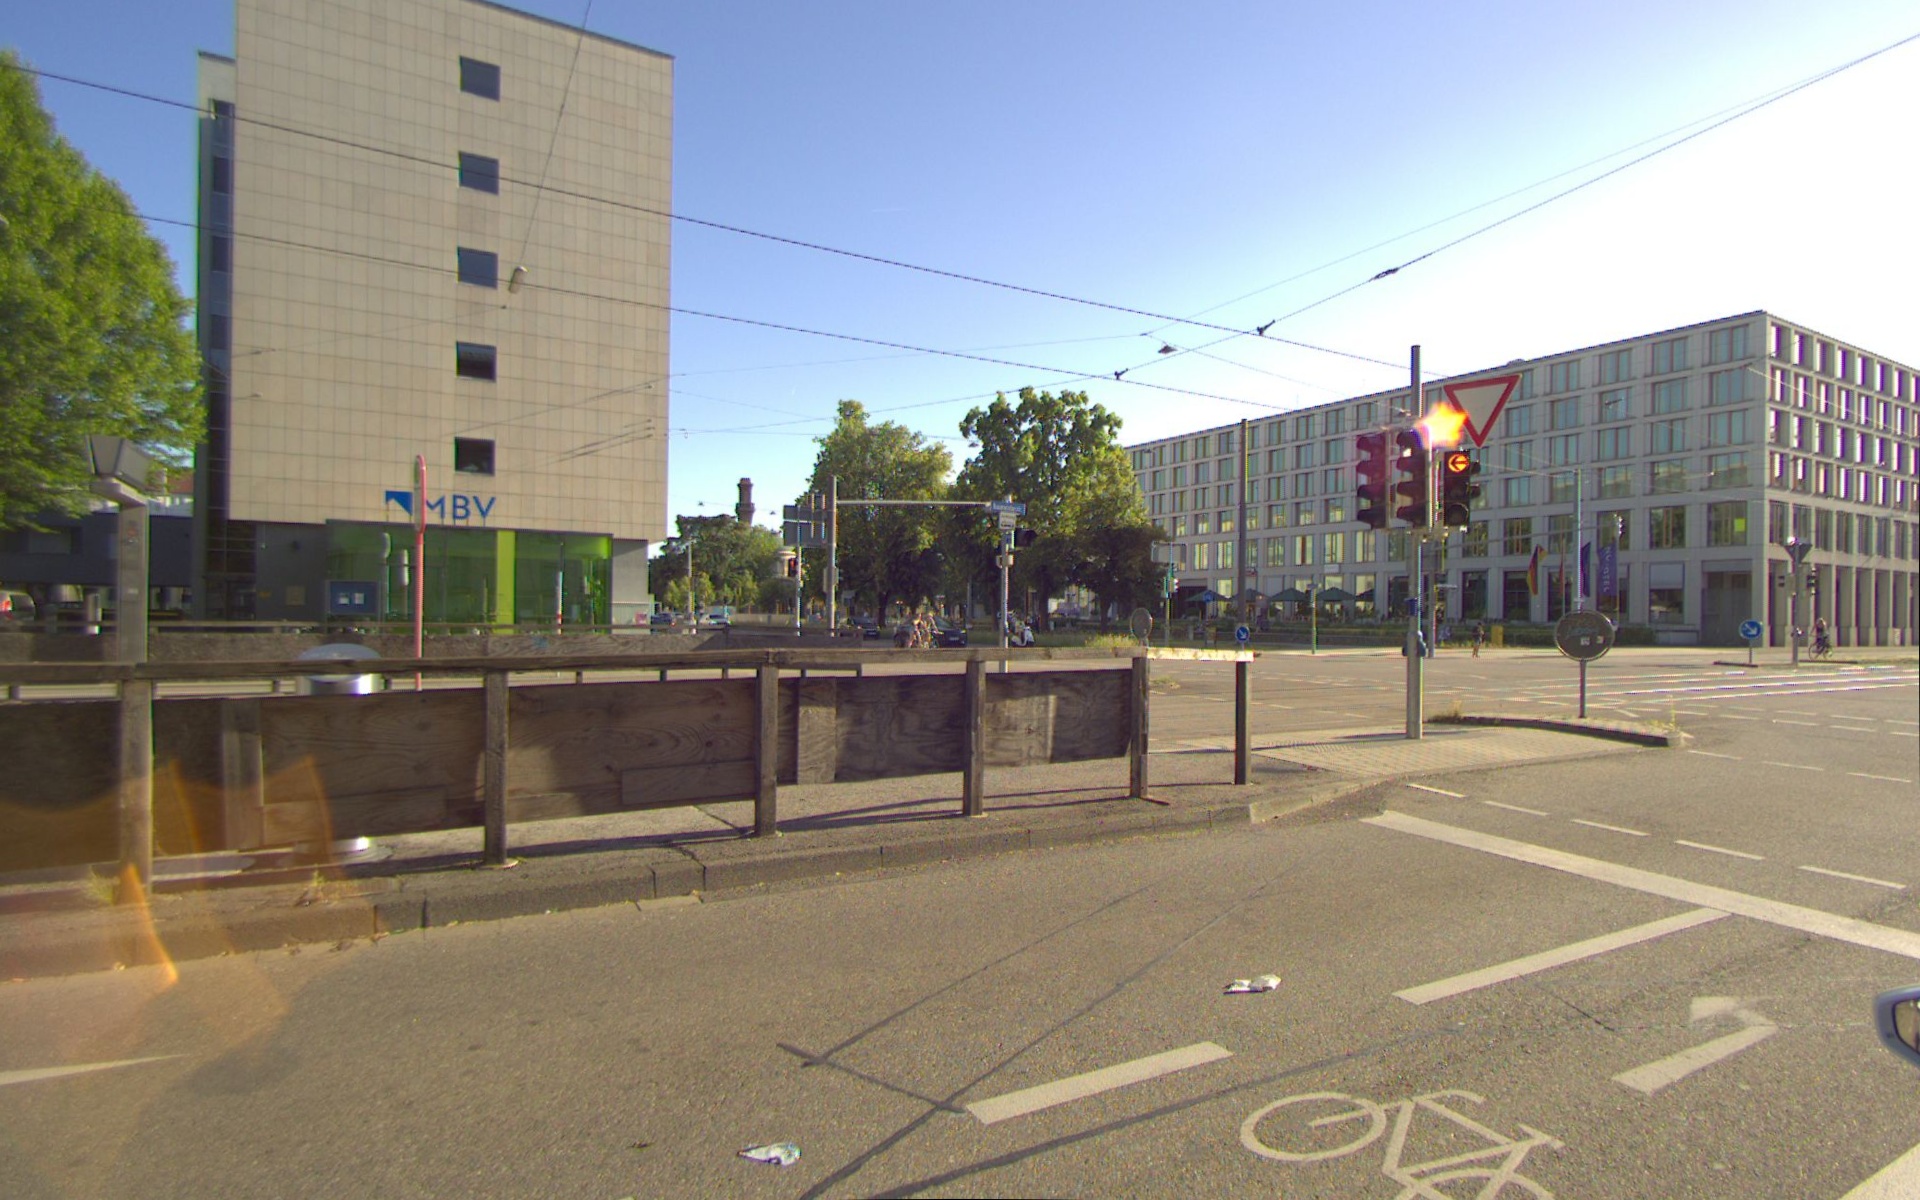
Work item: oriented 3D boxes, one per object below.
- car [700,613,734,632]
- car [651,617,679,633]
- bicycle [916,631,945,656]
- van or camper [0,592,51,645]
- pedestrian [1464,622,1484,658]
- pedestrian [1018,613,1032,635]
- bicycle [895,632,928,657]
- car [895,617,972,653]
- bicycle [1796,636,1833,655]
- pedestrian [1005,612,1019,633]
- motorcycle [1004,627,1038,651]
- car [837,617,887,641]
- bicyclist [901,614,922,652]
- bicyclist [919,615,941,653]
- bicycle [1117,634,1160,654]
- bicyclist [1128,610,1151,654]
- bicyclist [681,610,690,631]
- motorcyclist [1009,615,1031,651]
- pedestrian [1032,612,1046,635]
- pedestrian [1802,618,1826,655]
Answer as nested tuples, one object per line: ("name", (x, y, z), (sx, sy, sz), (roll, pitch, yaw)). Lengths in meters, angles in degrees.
("car", (-21.533, 1.964, 88.932), (1.975, 1.472, 4.179), (2, 0, -28))
("car", (-29.994, 2.498, 102.019), (1.975, 1.472, 4.179), (2, 0, -28))
("bicycle", (-1.265, 1.825, 42.382), (0.576, 1.032, 1.666), (1, -1, -27))
("van or camper", (-27.887, 0.428, 27.568), (3.954, 1.425, 1.954), (4, -3, -30))
("pedestrian", (25.061, 1.942, 48.969), (0.597, 1.703, 0.602), (1, -1, -22))
("pedestrian", (5.139, 1.877, 79.441), (0.858, 1.738, 0.737), (2, 0, -26))
("bicycle", (-2.037, 1.844, 42.021), (0.577, 1.032, 1.806), (1, -3, -31))
("car", (-1.281, 1.613, 46.368), (1.925, 1.561, 3.969), (2, -2, -29))
("bicycle", (38.401, 2.040, 45.150), (1.693, 0.834, 0.570), (1, -1, -23))
("pedestrian", (4.331, 1.873, 83.719), (0.858, 1.738, 0.737), (2, 0, -26))
("motorcycle", (2.849, 1.818, 46.957), (0.624, 1.030, 1.972), (-3, 1, -28))
("car", (-6.285, 1.833, 64.323), (1.674, 1.506, 3.719), (1, -1, -33))
("bicyclist", (-2.031, 1.366, 42.018), (0.577, 1.563, 0.833), (1, -2, -32))
("bicyclist", (-1.272, 1.436, 42.417), (0.576, 1.563, 0.890), (1, -1, -27))
("bicycle", (7.368, 1.822, 41.436), (1.831, 0.798, 0.532), (1, -1, -30))
("bicyclist", (7.392, 1.326, 41.444), (0.762, 1.784, 0.532), (1, -1, -30))
("bicyclist", (-22.189, 1.644, 81.182), (0.576, 1.658, 0.890), (1, -1, -27))
("motorcyclist", (2.808, 1.537, 46.988), (0.624, 1.601, 0.812), (-3, 1, -28))
("pedestrian", (6.244, 1.868, 79.381), (0.858, 1.738, 0.737), (2, 0, -26))
("pedestrian", (38.393, 1.645, 45.153), (0.734, 1.616, 0.570), (1, -1, -22))
